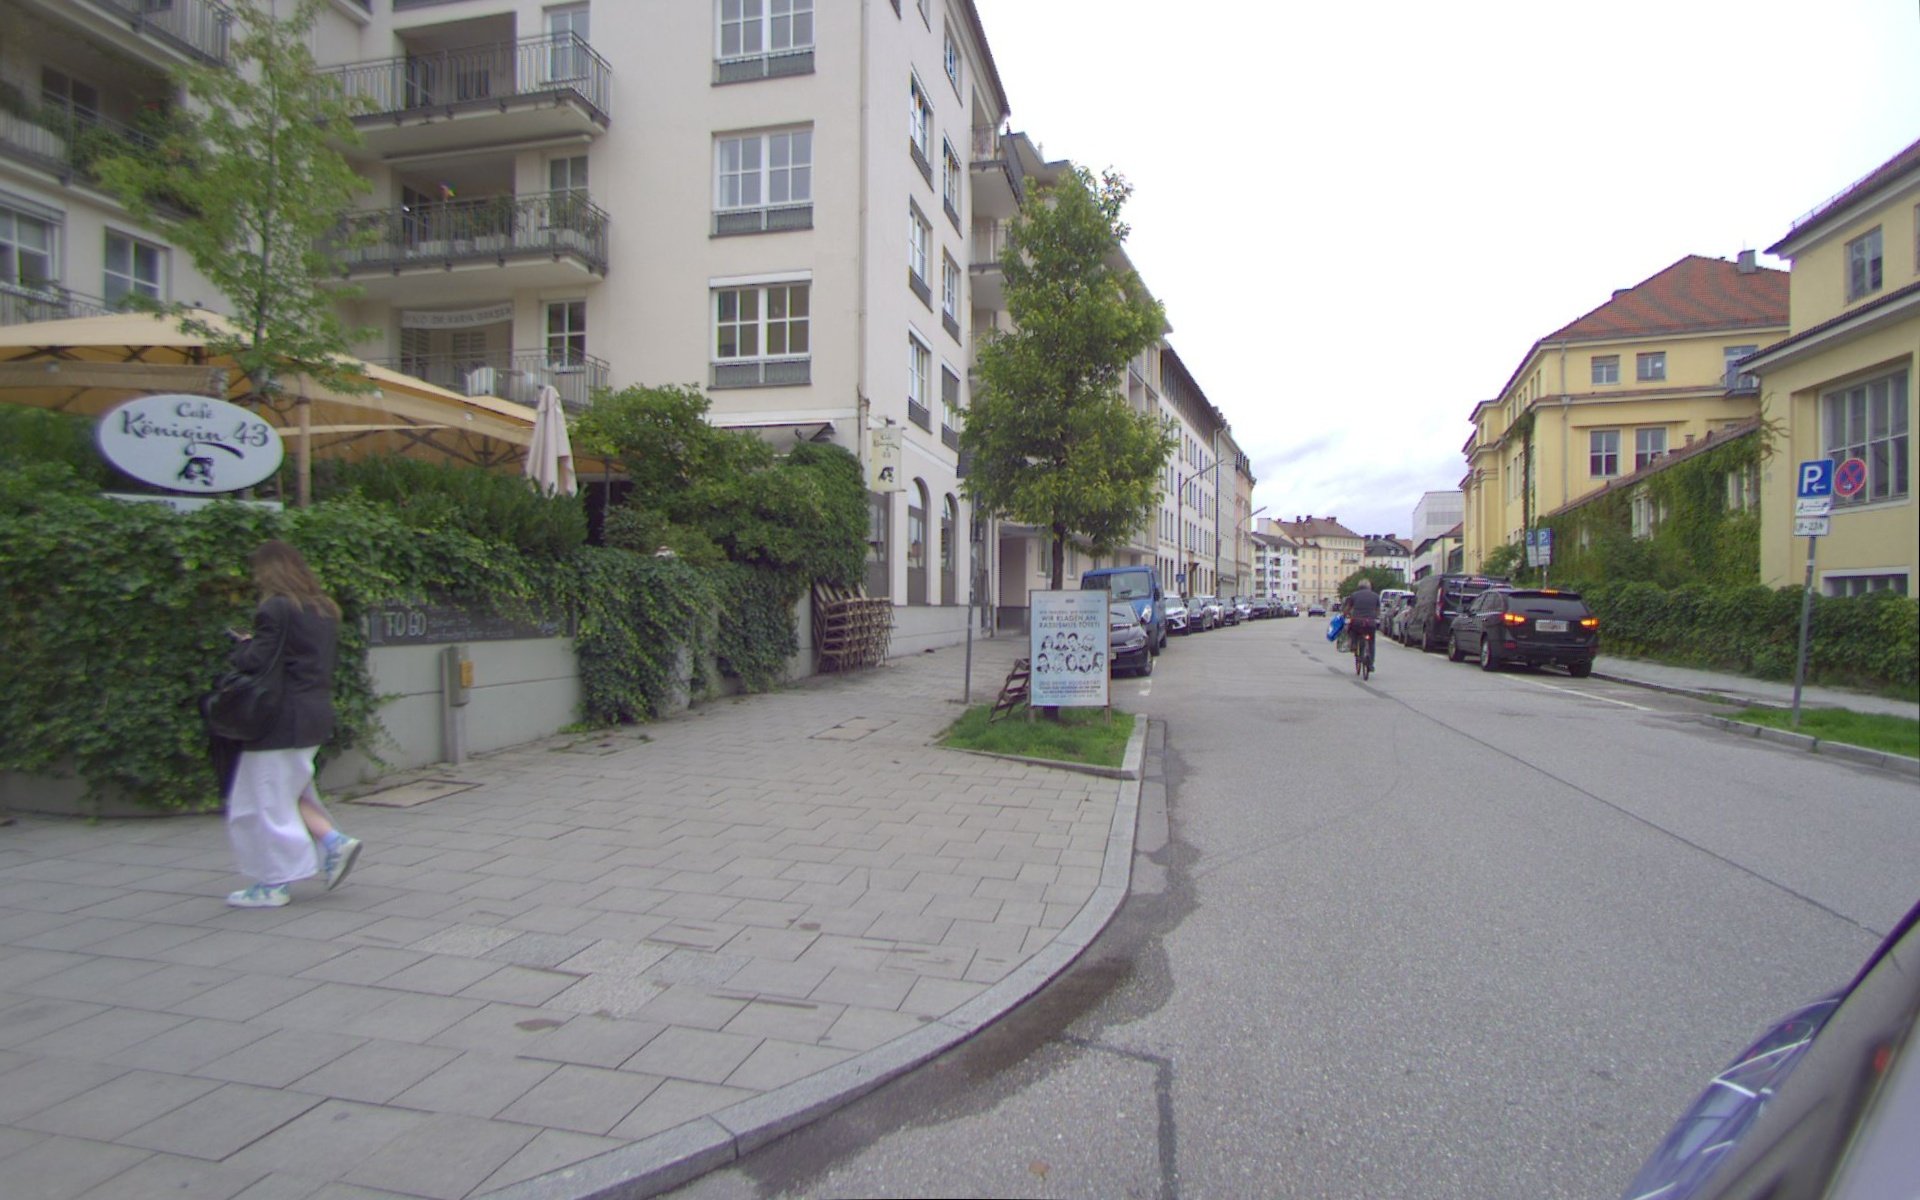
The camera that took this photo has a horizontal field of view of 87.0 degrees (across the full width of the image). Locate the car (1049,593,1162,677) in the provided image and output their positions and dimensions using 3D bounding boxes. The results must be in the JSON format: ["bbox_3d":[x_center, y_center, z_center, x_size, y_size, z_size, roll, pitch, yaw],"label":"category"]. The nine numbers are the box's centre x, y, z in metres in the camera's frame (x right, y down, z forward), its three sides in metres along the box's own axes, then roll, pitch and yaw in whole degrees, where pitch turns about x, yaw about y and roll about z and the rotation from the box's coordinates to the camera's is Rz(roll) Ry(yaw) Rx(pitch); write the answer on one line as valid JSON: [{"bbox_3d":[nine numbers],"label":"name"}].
[{"bbox_3d":[2.946,0.620,19.930,1.754,1.413,3.788,-3,0,14],"label":"car"}]

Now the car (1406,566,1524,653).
[{"bbox_3d":[13.594,0.216,27.529,1.949,2.097,4.658,2,1,16],"label":"car"}]

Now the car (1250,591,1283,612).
[{"bbox_3d":[23.103,0.096,76.202,1.871,1.473,4.703,-3,-1,23],"label":"car"}]

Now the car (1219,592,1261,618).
[{"bbox_3d":[17.281,0.305,62.338,1.871,1.473,4.703,-3,-1,23],"label":"car"}]

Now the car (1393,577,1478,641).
[{"bbox_3d":[15.321,0.262,32.838,1.952,1.859,4.653,2,1,19],"label":"car"}]

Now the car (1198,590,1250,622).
[{"bbox_3d":[13.442,0.315,51.358,1.872,1.473,4.566,-3,-1,23],"label":"car"}]

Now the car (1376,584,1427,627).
[{"bbox_3d":[20.503,0.235,47.126,1.954,1.859,4.647,2,1,22],"label":"car"}]

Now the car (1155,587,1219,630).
[{"bbox_3d":[9.514,0.347,42.175,1.937,1.582,4.580,-3,-1,20],"label":"car"}]

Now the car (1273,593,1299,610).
[{"bbox_3d":[31.807,0.127,98.678,1.871,1.473,4.703,-3,-1,23],"label":"car"}]

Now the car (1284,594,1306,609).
[{"bbox_3d":[37.447,0.161,113.081,1.871,1.473,4.703,-3,-1,23],"label":"car"}]

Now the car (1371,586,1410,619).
[{"bbox_3d":[26.151,0.145,61.582,1.953,1.859,4.648,2,1,21],"label":"car"}]

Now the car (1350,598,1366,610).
[{"bbox_3d":[54.524,0.584,138.599,1.752,1.549,3.967,-1,0,24],"label":"car"}]

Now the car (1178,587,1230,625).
[{"bbox_3d":[11.335,0.295,46.897,1.893,1.582,4.063,-3,-1,19],"label":"car"}]

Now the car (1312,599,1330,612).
[{"bbox_3d":[39.585,0.577,111.044,1.772,1.358,3.809,-1,0,21],"label":"car"}]

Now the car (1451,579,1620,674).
[{"bbox_3d":[12.010,0.475,21.491,1.908,1.730,4.605,2,1,14],"label":"car"}]

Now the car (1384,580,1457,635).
[{"bbox_3d":[17.031,0.251,37.650,1.952,1.859,4.653,2,1,19],"label":"car"}]

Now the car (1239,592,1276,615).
[{"bbox_3d":[20.799,0.244,70.632,1.871,1.473,4.703,-3,-1,23],"label":"car"}]

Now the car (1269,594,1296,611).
[{"bbox_3d":[29.349,0.223,92.026,1.871,1.473,4.703,-3,-1,23],"label":"car"}]

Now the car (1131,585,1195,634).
[{"bbox_3d":[7.583,0.355,37.524,1.956,1.582,4.691,-3,-1,15],"label":"car"}]

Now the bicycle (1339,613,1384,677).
[{"bbox_3d":[7.166,0.772,18.104,0.615,1.030,1.707,2,1,19],"label":"bicycle"}]

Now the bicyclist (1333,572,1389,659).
[{"bbox_3d":[7.151,0.265,18.082,0.832,1.476,0.739,2,0,19],"label":"bicyclist"}]

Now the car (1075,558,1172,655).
[{"bbox_3d":[4.318,0.111,26.138,1.955,2.196,4.694,-3,1,14],"label":"car"}]

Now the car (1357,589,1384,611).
[{"bbox_3d":[35.730,-0.001,88.236,1.952,1.859,4.651,2,1,20],"label":"car"}]

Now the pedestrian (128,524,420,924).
[{"bbox_3d":[-3.084,0.512,4.602,0.867,1.643,0.704,-1,0,12],"label":"pedestrian"}]

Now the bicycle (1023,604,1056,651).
[{"bbox_3d":[1.925,0.637,24.384,0.480,1.066,2.174,2,1,12],"label":"bicycle"}]

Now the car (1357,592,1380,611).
[{"bbox_3d":[41.224,0.151,102.213,1.952,1.859,4.651,2,1,20],"label":"car"}]
